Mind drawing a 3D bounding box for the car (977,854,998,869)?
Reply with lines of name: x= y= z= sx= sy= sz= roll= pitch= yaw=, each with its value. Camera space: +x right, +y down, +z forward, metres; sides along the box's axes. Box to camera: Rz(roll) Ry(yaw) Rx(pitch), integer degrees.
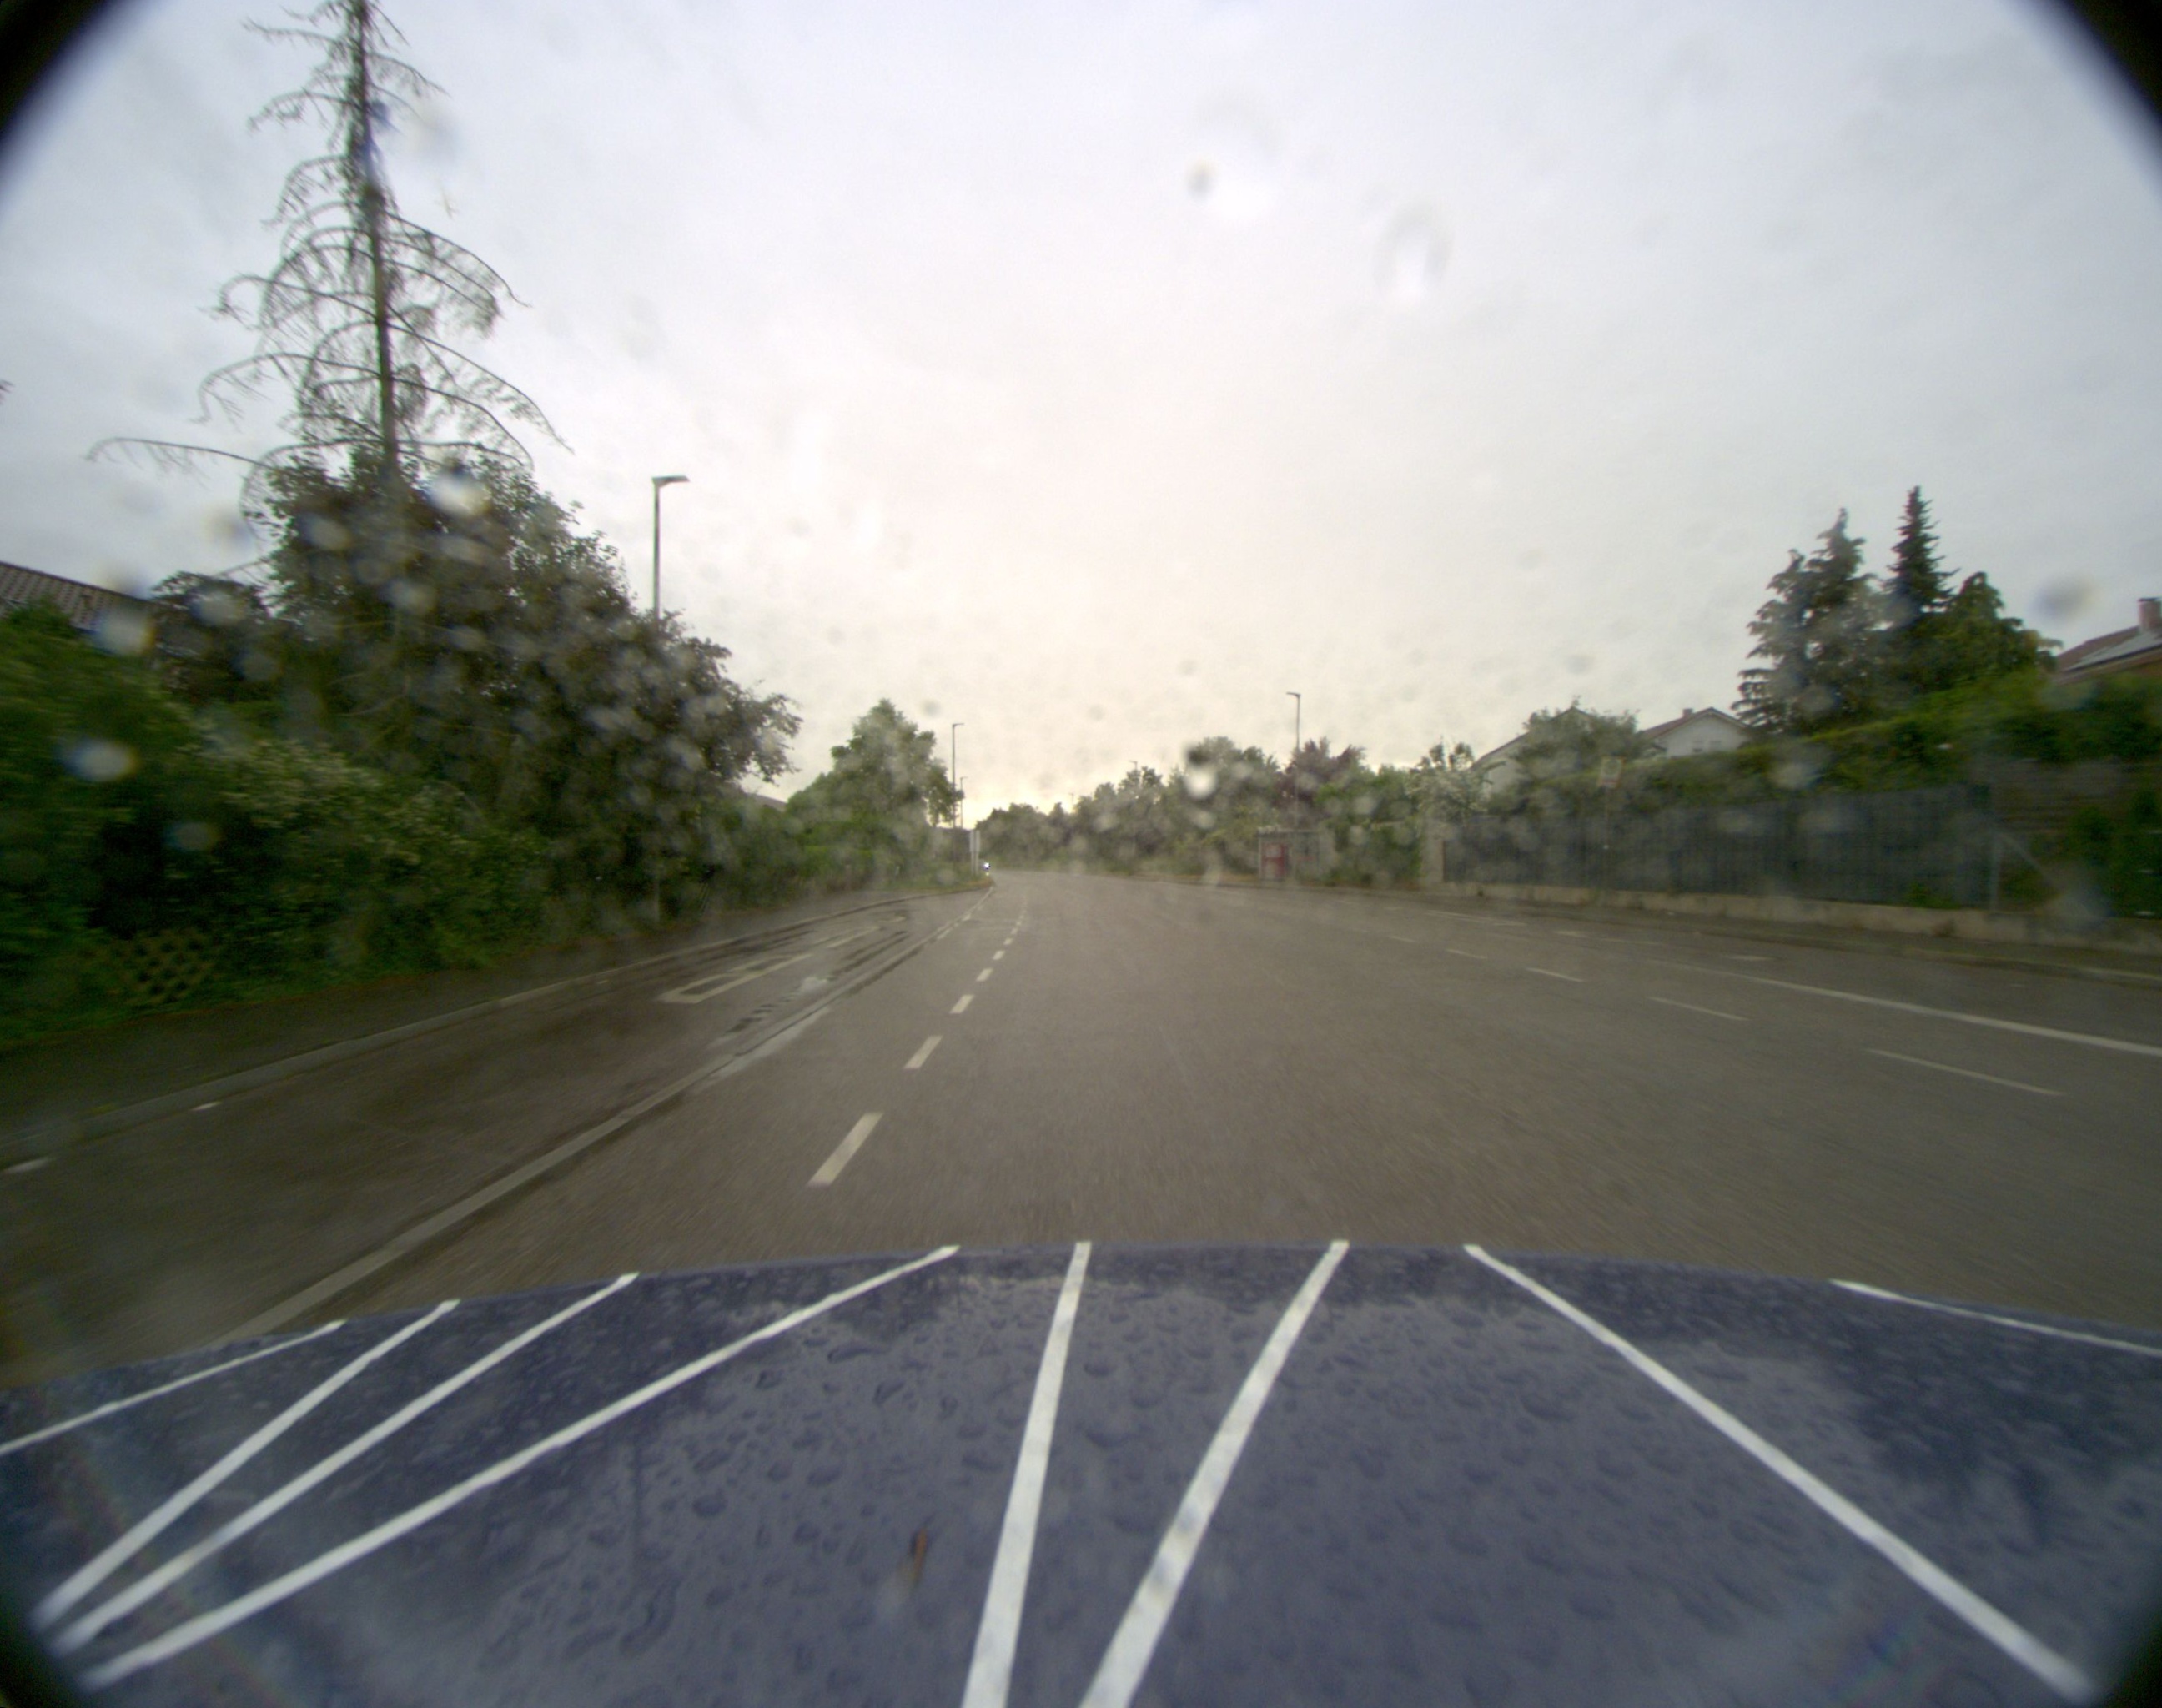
car: x=-11.385 y=0.943 z=92.429 sx=2.001 sy=1.831 sz=3.995 roll=0 pitch=-1 yaw=-14
